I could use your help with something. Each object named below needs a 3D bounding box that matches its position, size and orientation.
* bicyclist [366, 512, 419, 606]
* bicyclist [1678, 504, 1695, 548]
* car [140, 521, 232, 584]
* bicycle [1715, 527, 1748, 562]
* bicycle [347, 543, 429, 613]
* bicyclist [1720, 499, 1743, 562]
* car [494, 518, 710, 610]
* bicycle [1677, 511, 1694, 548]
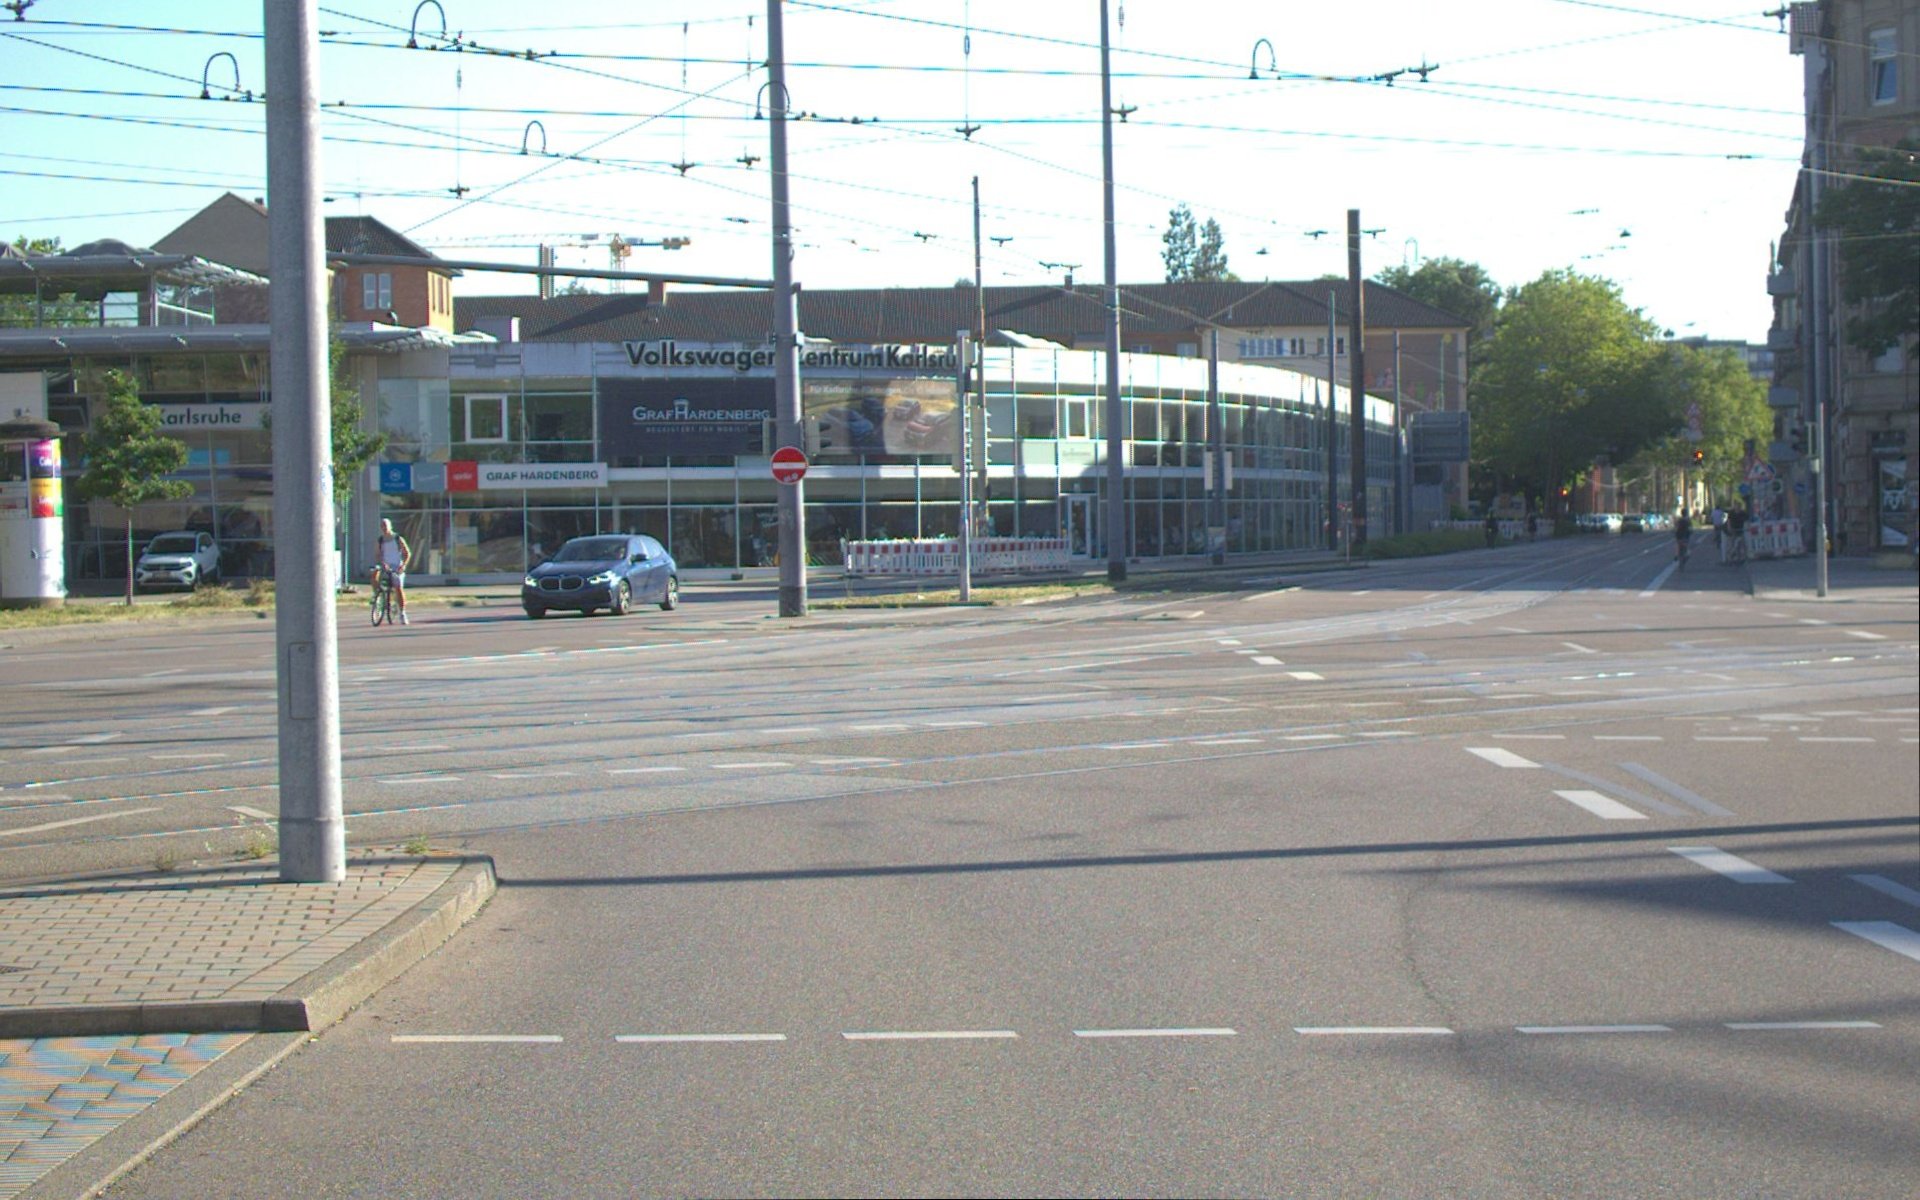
[{"bbox_3d":[-9.864,-0.709,59.765,0.598,1.610,0.822,1,0,17],"label":"bicyclist"},{"bbox_3d":[18.715,-1.900,88.604,0.408,1.112,0.399,1,0,11],"label":"bicyclist"},{"bbox_3d":[-22.340,-1.360,99.326,1.993,1.744,4.001,1,1,-4],"label":"car"},{"bbox_3d":[21.168,-1.526,94.357,0.657,0.949,1.600,1,1,5],"label":"bicycle"},{"bbox_3d":[-9.910,-0.386,59.626,0.613,1.185,1.867,1,1,17],"label":"bicycle"},{"bbox_3d":[21.163,-1.902,94.281,0.518,1.695,0.516,1,0,3],"label":"bicyclist"},{"bbox_3d":[-6.386,-0.632,61.718,1.996,1.579,3.994,1,1,27],"label":"car"},{"bbox_3d":[18.662,-1.804,88.372,0.410,0.938,1.844,1,1,12],"label":"bicycle"}]
